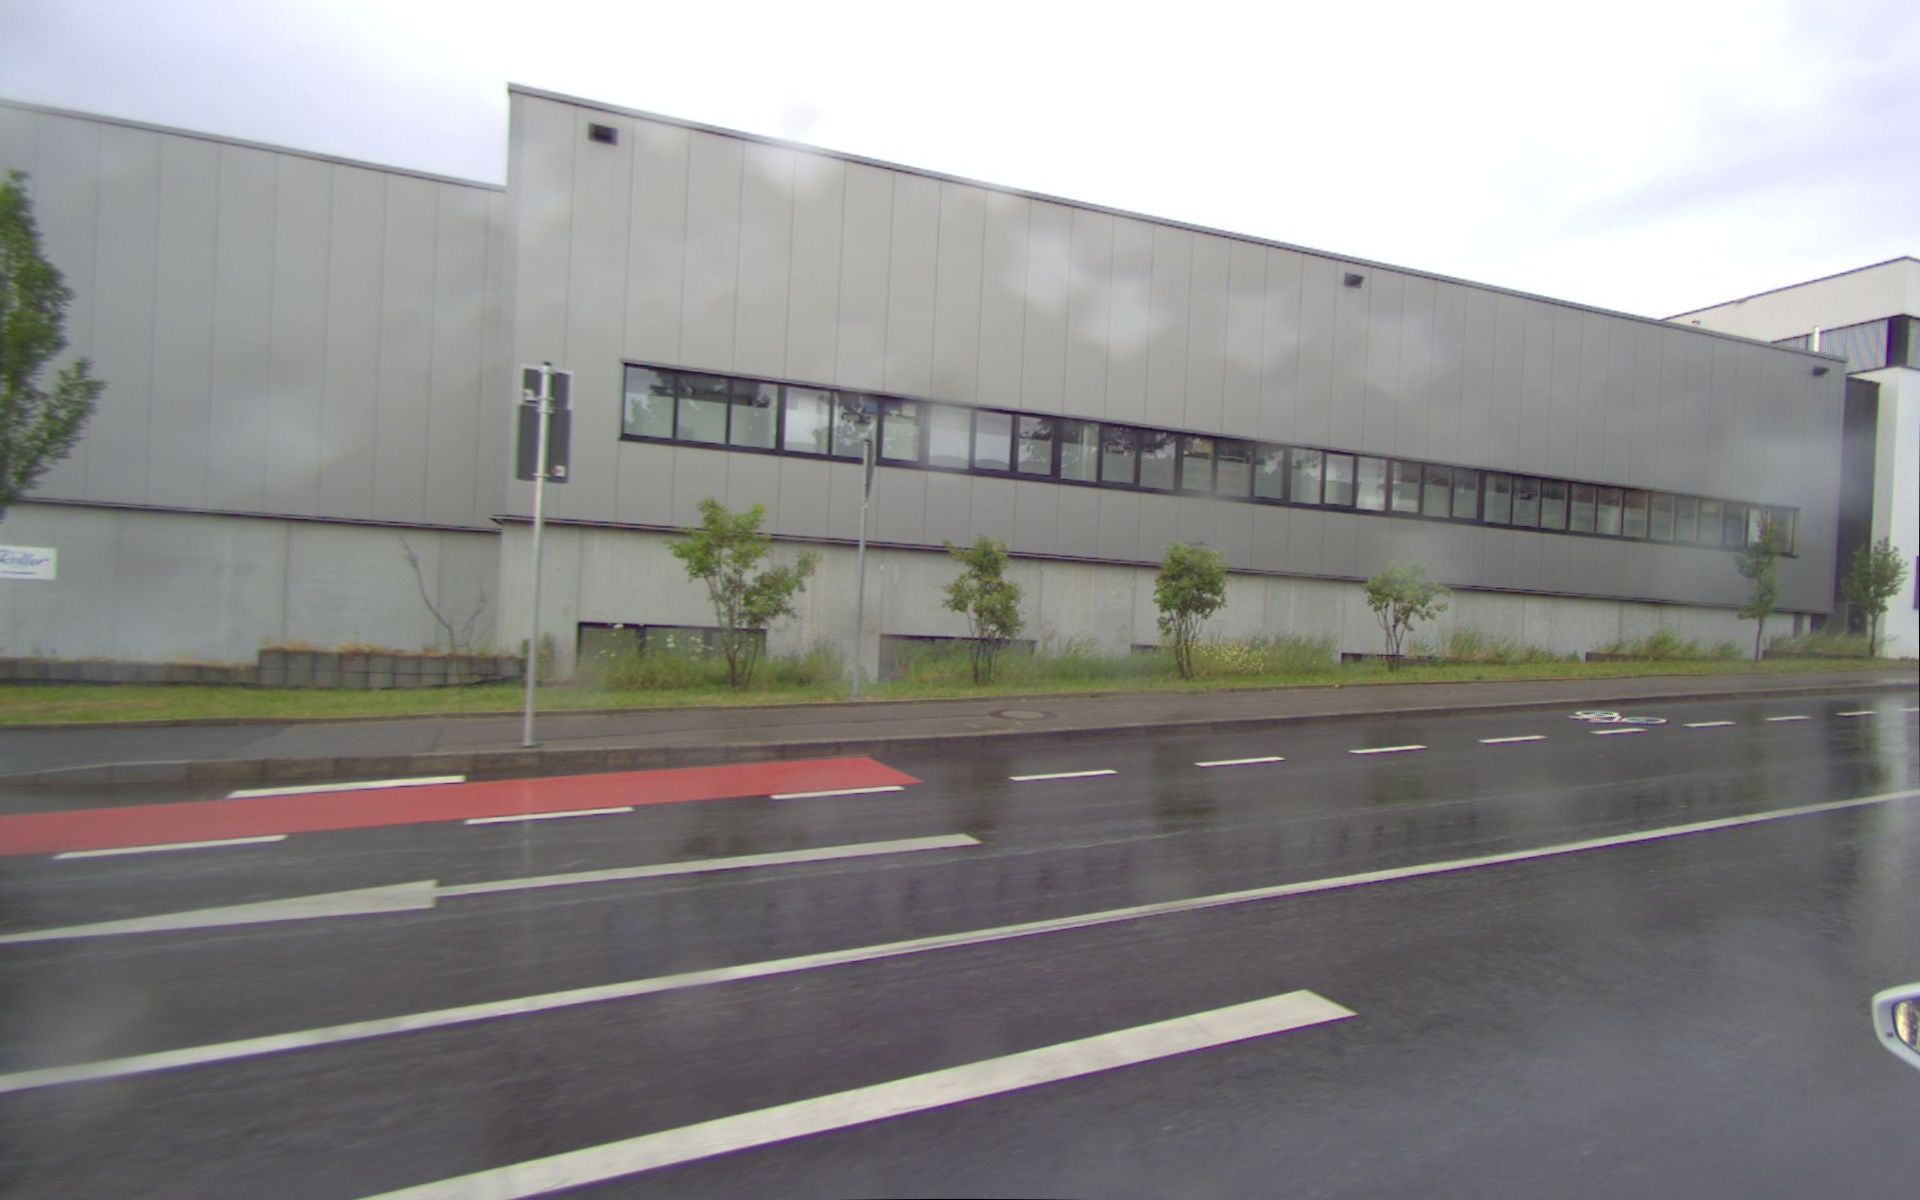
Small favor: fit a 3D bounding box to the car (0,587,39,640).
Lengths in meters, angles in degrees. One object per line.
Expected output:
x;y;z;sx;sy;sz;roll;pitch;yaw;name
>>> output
-47.297;0.613;46.777;5.926;2.446;2.457;1;-2;-14;car
